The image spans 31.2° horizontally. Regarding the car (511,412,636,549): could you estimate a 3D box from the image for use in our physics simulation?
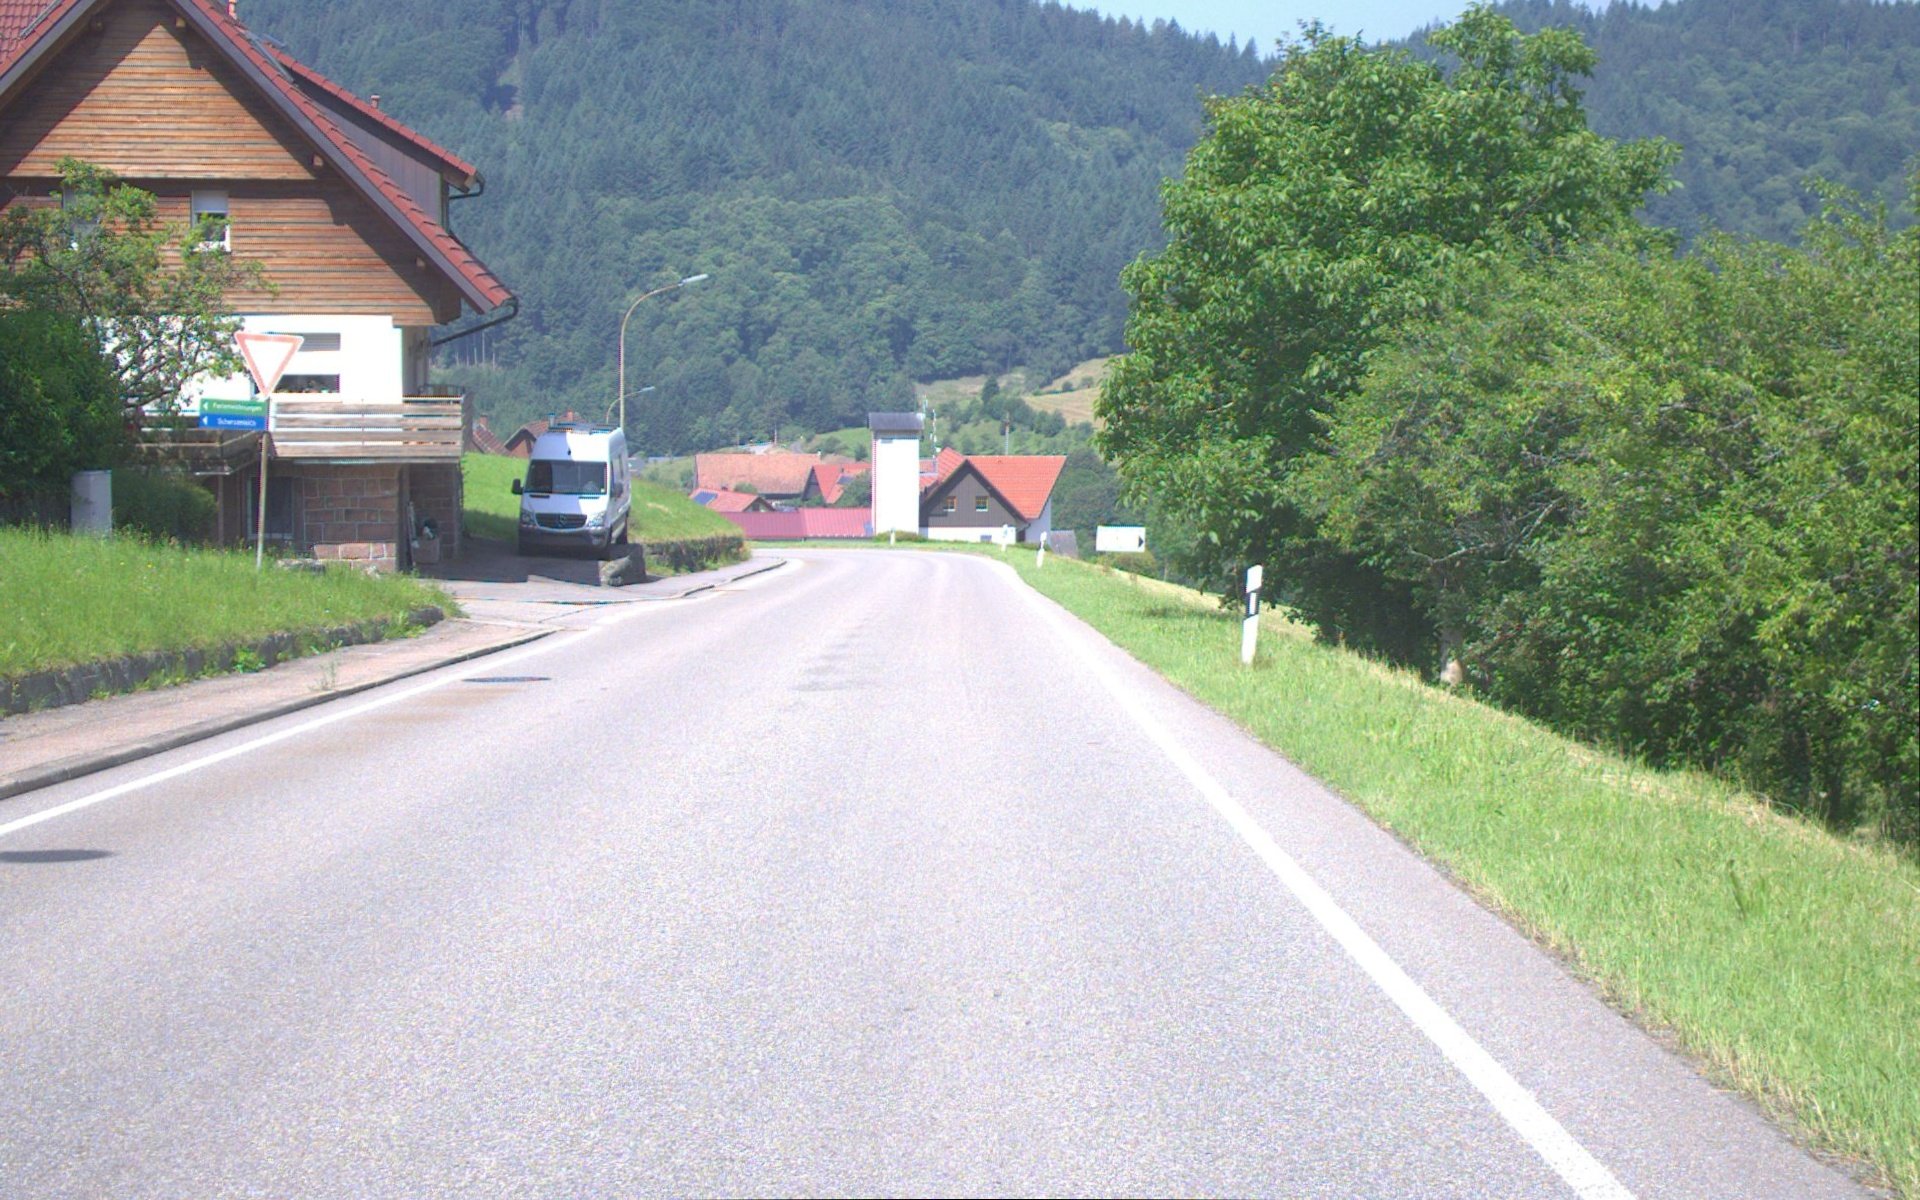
[{"bbox_3d":[-8.480,-2.701,75.981,2.067,2.679,7.176,0,5,-1],"label":"car"}]
